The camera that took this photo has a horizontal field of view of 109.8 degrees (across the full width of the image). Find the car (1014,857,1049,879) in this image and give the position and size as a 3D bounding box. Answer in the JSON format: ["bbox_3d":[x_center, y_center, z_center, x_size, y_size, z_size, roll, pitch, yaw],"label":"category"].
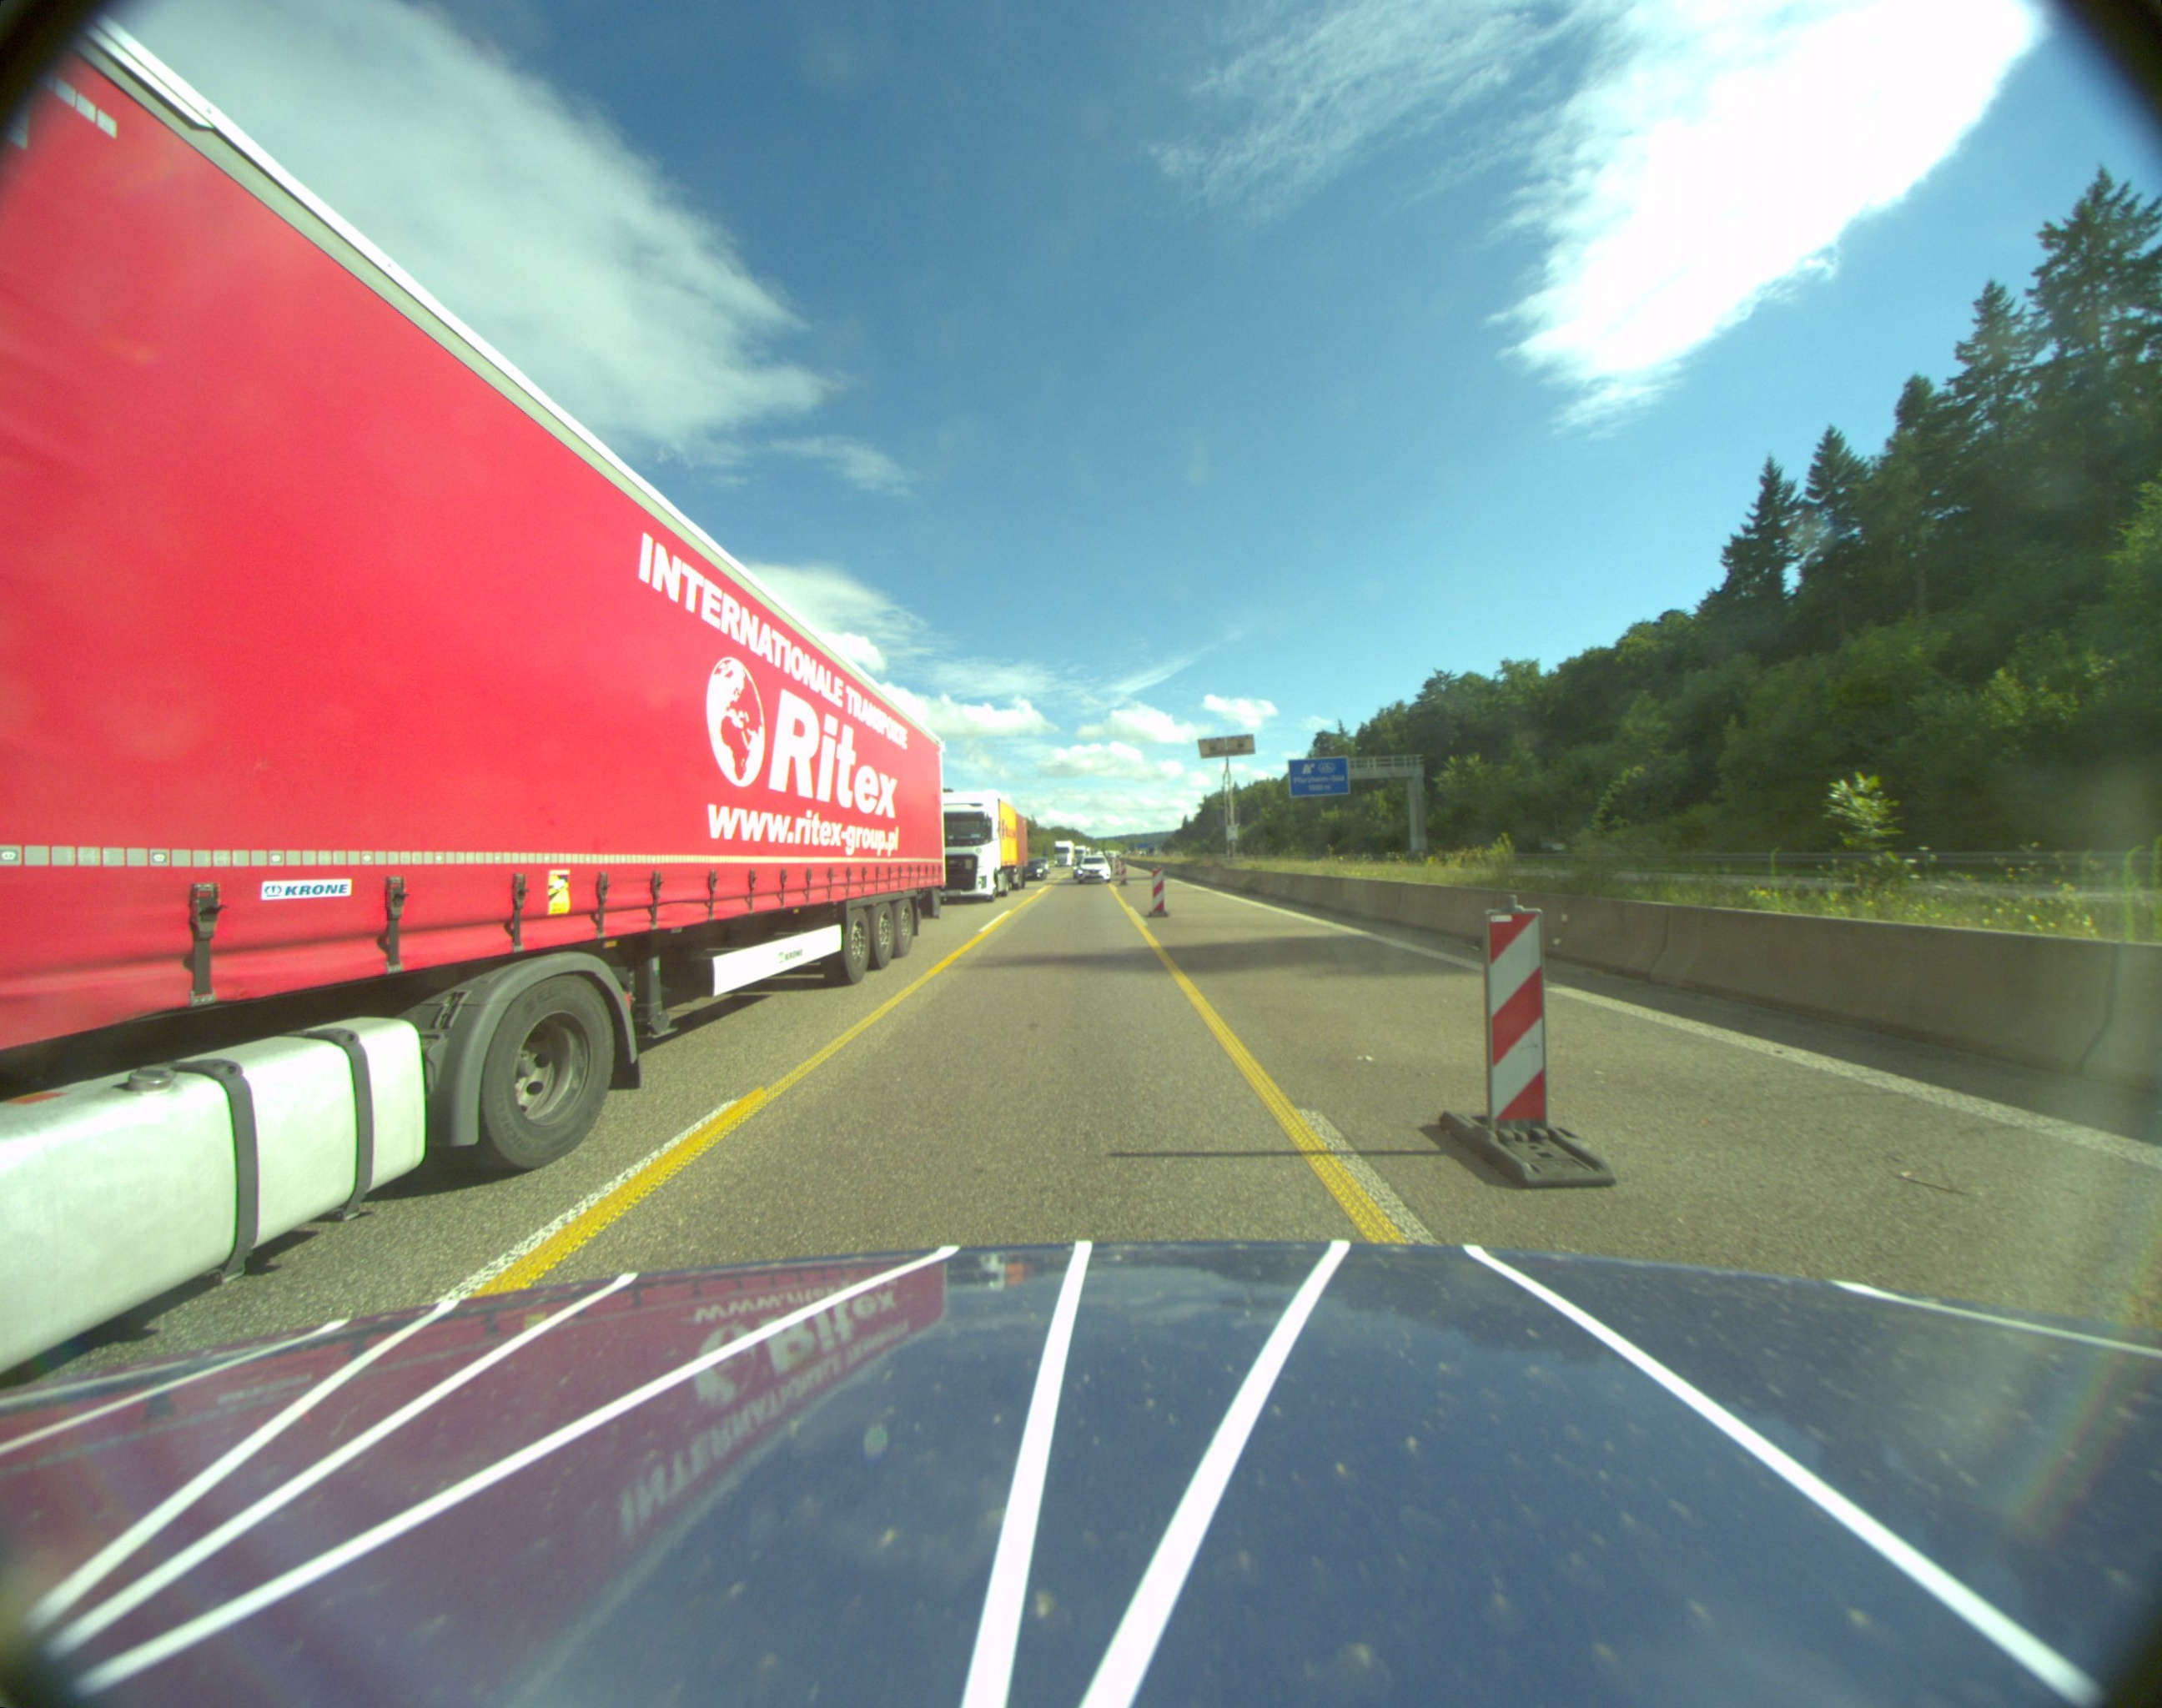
[{"bbox_3d":[-3.313,0.936,51.581,1.933,1.342,4.477,-2,0,1],"label":"car"}]

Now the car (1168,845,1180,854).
[{"bbox_3d":[17.402,-0.784,142.038,1.665,1.572,3.911,-2,1,0],"label":"car"}]

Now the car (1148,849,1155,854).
[{"bbox_3d":[22.293,-0.695,241.004,1.944,1.455,3.911,-2,1,0],"label":"car"}]

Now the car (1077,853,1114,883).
[{"bbox_3d":[0.774,0.753,42.858,1.840,1.528,3.882,-2,1,-1],"label":"car"}]

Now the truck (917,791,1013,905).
[{"bbox_3d":[-4.135,-0.220,28.326,2.501,3.759,5.789,-2,1,1],"label":"truck"}]

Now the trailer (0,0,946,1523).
[{"bbox_3d":[-4.071,-0.312,8.199,2.707,3.945,13.416,-2,0,0],"label":"trailer"}]

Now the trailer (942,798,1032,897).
[{"bbox_3d":[-4.048,-0.288,35.477,2.478,3.753,12.134,-2,0,0],"label":"trailer"}]

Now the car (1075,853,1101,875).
[{"bbox_3d":[0.507,0.682,53.735,1.692,1.471,3.754,-1,1,1],"label":"car"}]

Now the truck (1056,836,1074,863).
[{"bbox_3d":[-2.510,-0.732,123.079,2.641,4.092,8.194,-2,0,-1],"label":"truck"}]

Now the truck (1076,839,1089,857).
[{"bbox_3d":[0.349,-1.445,188.126,2.640,4.092,8.196,-2,0,3],"label":"truck"}]

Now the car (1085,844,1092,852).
[{"bbox_3d":[2.287,-1.863,226.487,1.998,2.188,3.999,-2,1,1],"label":"car"}]

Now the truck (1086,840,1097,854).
[{"bbox_3d":[3.144,-2.099,226.569,2.641,4.092,8.194,-3,0,-1],"label":"truck"}]

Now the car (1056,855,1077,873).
[{"bbox_3d":[-1.282,0.865,68.615,1.762,1.471,3.967,-1,1,1],"label":"car"}]

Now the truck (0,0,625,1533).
[{"bbox_3d":[-4.046,-0.259,1.512,2.675,3.936,5.710,-2,0,0],"label":"truck"}]
